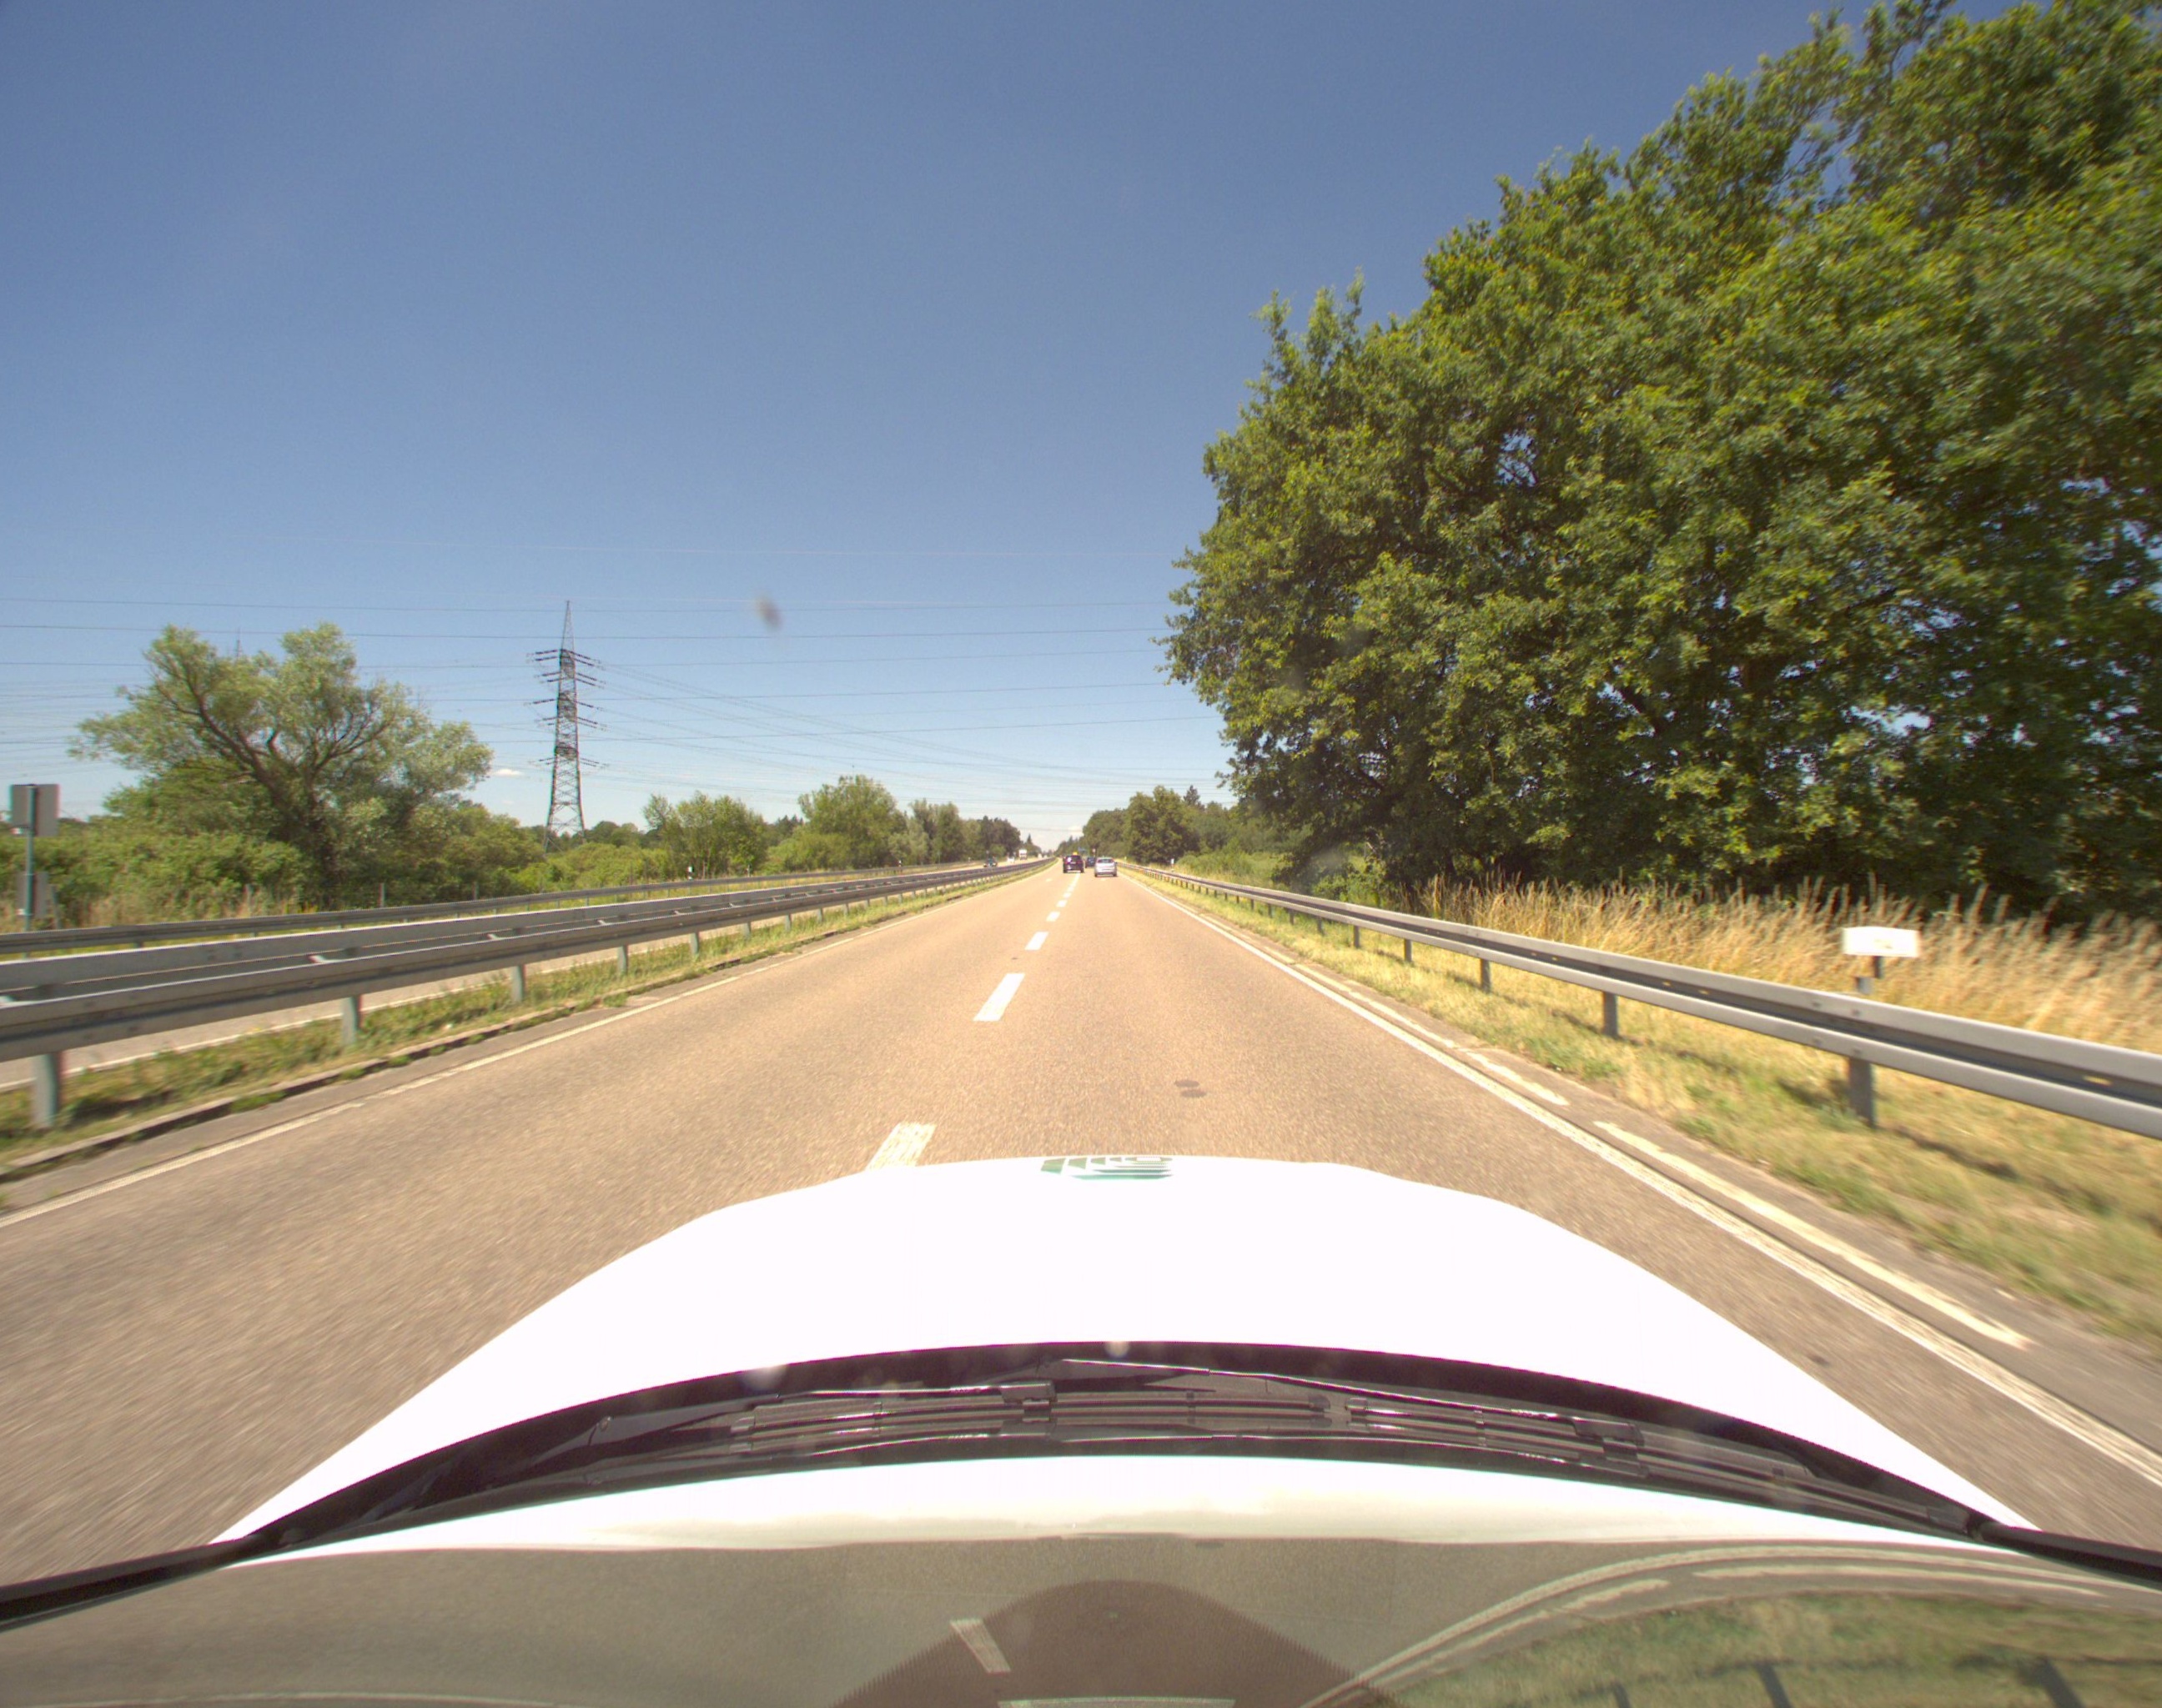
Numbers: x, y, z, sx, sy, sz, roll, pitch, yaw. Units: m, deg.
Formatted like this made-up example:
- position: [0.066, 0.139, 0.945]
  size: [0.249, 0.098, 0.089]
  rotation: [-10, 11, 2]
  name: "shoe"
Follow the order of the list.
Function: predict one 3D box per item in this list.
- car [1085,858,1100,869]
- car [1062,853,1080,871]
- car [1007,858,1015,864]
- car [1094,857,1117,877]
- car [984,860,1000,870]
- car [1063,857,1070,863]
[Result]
- position: [1.480, 1.159, 101.514]
  size: [1.633, 1.343, 3.577]
  rotation: [1, 0, 3]
  name: "car"
- position: [-0.920, 0.783, 77.917]
  size: [1.635, 1.654, 3.573]
  rotation: [1, 0, 0]
  name: "car"
- position: [-16.698, 1.638, 194.718]
  size: [1.528, 1.449, 3.700]
  rotation: [-1, 0, 0]
  name: "car"
- position: [1.856, 0.958, 61.648]
  size: [1.635, 1.468, 3.418]
  rotation: [1, 0, 0]
  name: "car"
- position: [-12.711, 1.591, 116.396]
  size: [1.839, 1.413, 4.678]
  rotation: [-1, 0, -1]
  name: "car"
- position: [-3.417, 1.469, 194.177]
  size: [1.708, 1.471, 3.571]
  rotation: [1, 0, -2]
  name: "car"
